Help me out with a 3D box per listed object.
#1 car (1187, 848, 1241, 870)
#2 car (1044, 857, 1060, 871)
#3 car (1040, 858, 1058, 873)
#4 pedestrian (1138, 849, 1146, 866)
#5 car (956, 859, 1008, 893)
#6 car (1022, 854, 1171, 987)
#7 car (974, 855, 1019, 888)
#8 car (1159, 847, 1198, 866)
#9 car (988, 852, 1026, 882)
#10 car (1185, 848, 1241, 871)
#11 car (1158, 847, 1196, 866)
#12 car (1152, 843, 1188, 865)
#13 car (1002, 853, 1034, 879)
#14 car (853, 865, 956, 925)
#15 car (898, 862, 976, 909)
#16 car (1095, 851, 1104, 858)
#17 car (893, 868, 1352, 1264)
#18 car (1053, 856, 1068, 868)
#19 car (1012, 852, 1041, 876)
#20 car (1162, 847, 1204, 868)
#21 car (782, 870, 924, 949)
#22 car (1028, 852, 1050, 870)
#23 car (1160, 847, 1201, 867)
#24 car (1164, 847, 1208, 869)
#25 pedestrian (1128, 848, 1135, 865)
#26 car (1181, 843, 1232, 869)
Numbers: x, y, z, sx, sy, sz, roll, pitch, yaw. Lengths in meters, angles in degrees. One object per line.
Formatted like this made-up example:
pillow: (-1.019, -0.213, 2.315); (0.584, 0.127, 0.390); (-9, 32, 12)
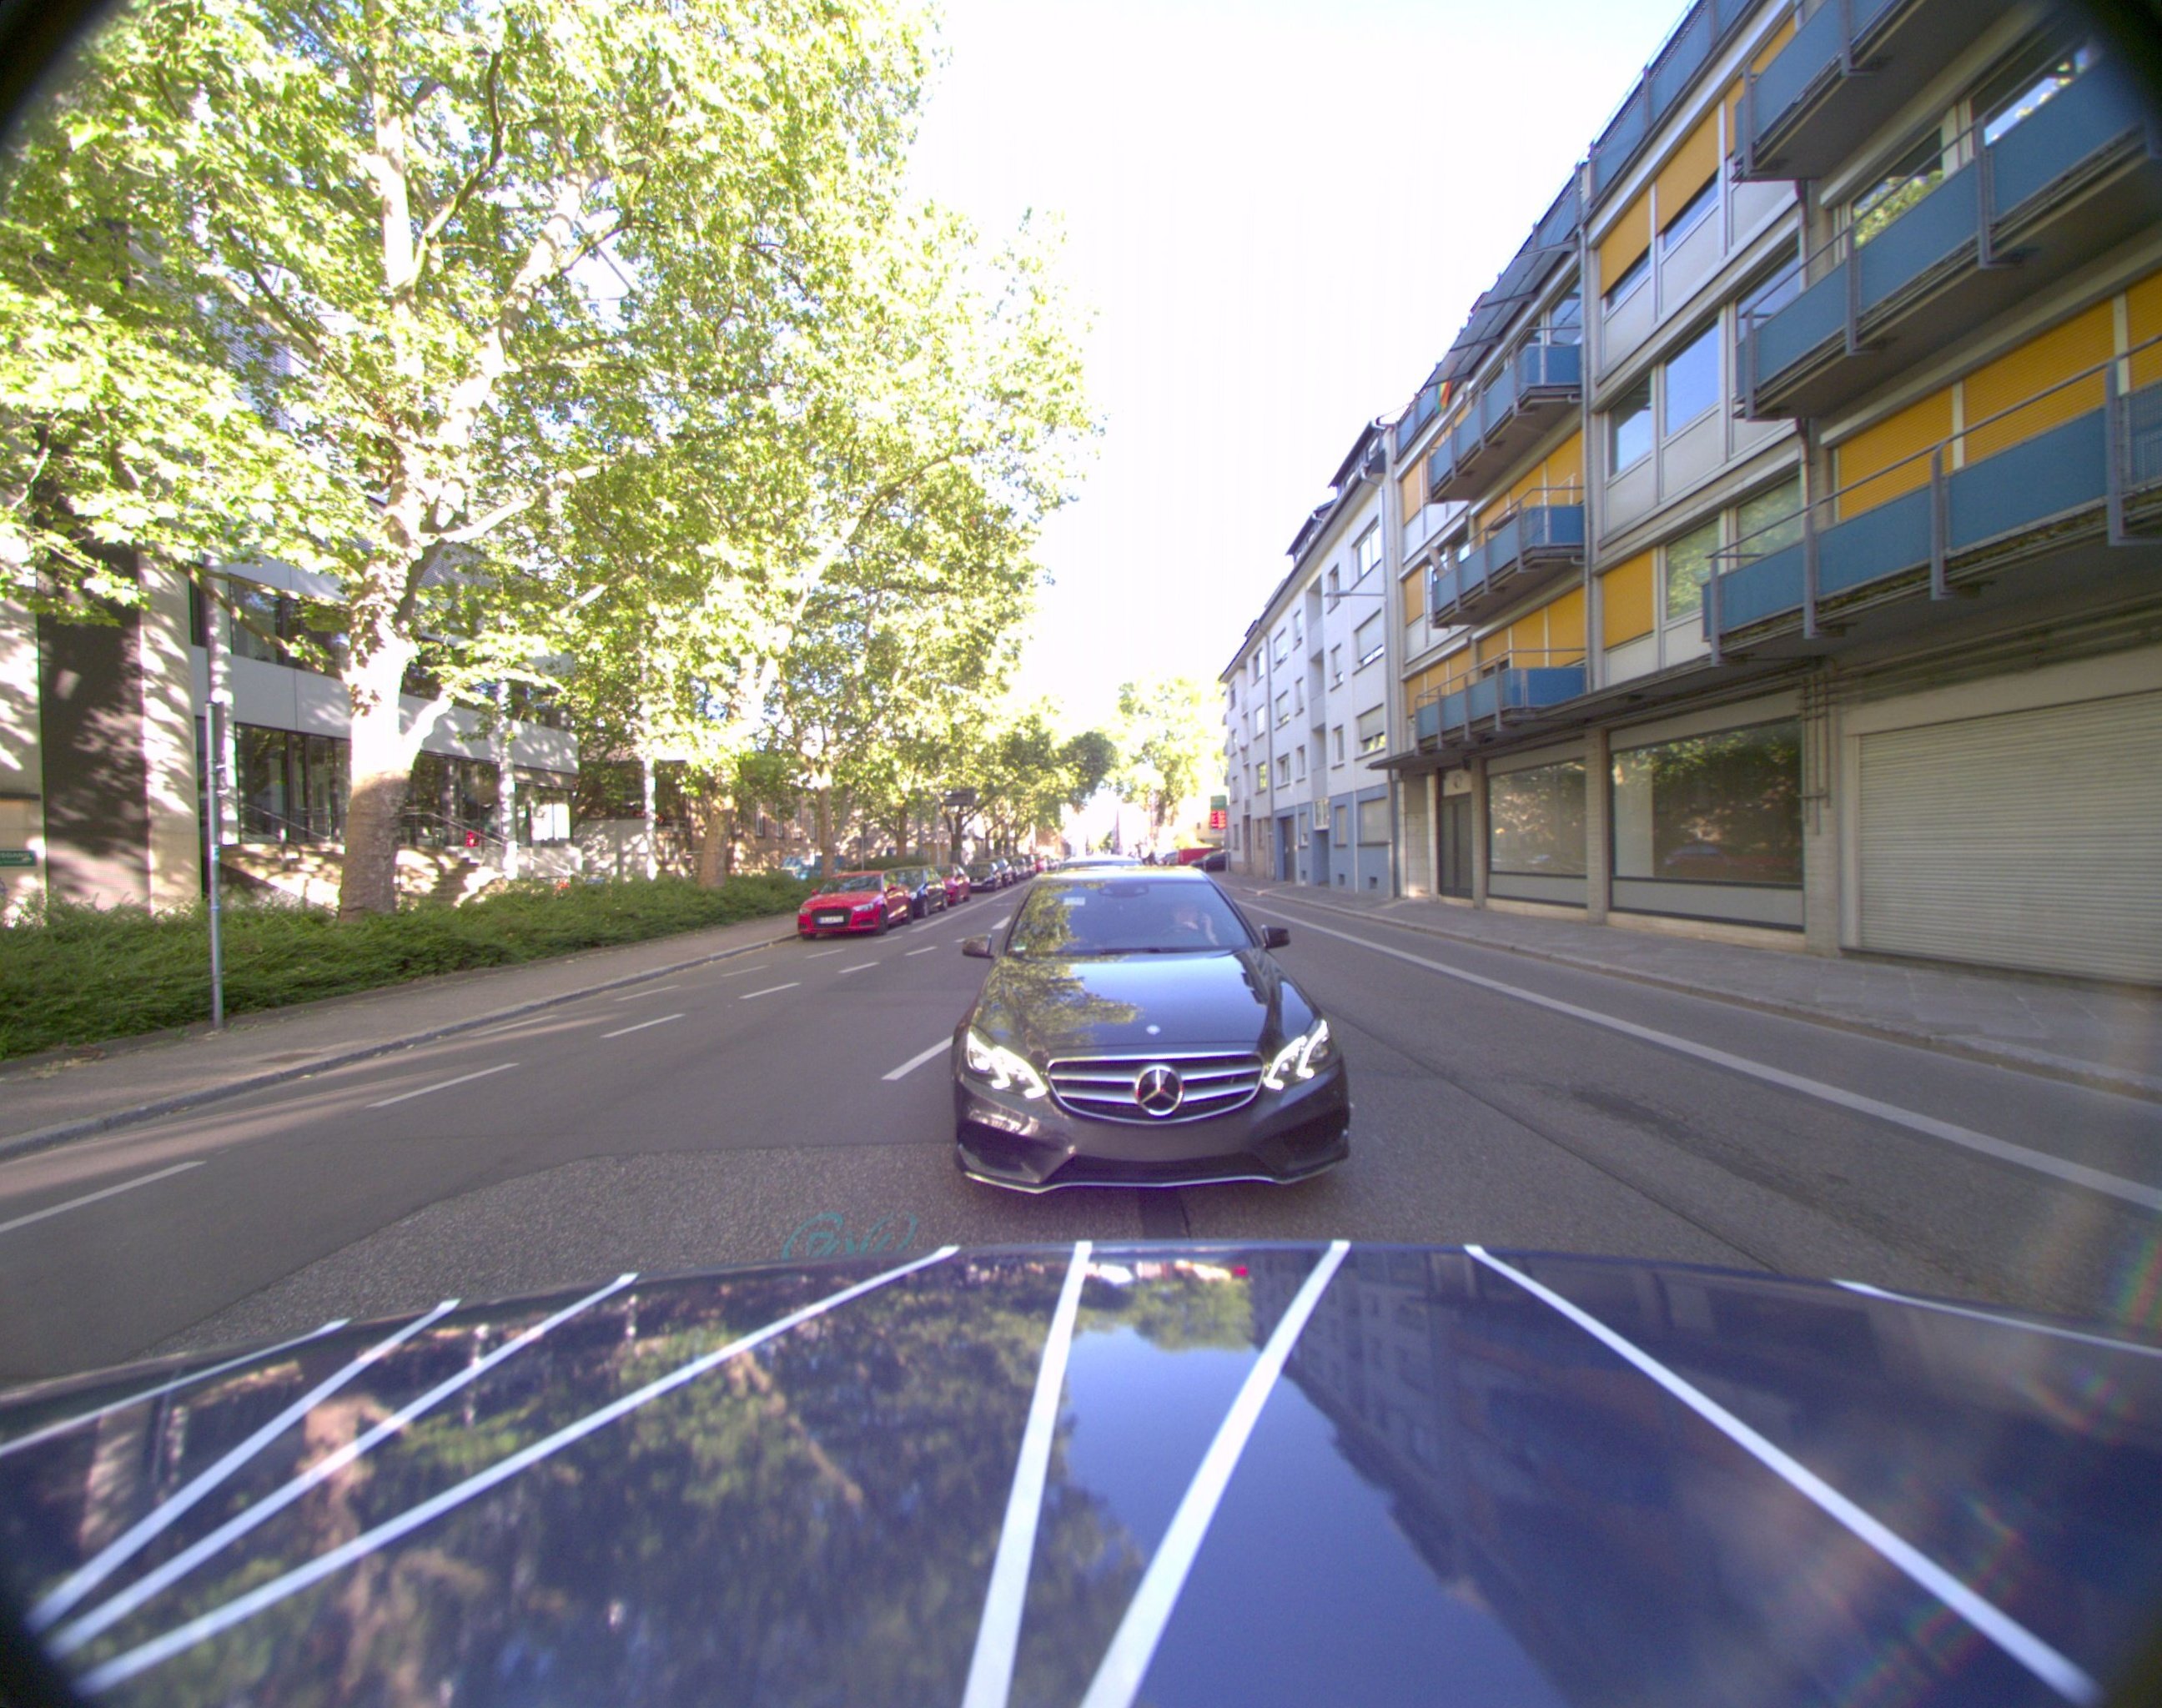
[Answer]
car: (10.710, 0.376, 61.197); (3.996, 1.543, 2.000); (-2, 1, 2)
car: (-3.663, 1.230, 96.787); (1.866, 1.632, 4.481); (-2, 0, 1)
car: (-3.772, 1.315, 89.988); (1.866, 1.632, 4.481); (-2, 0, 1)
pedestrian: (7.423, 0.376, 92.420); (0.735, 2.002, 1.046); (-2, 1, -1)
car: (-4.759, 1.021, 37.175); (1.866, 1.442, 4.481); (-2, 0, 1)
car: (0.223, 0.858, 11.934); (1.866, 1.630, 4.303); (-2, 0, 1)
car: (-4.625, 0.904, 42.210); (1.866, 1.658, 4.481); (-2, 0, 1)
car: (10.583, 0.273, 82.490); (3.996, 1.936, 2.000); (-2, 1, 2)
car: (-4.637, 0.780, 48.137); (1.866, 1.749, 4.481); (-2, 0, 1)
car: (10.169, 0.423, 58.875); (3.996, 1.543, 2.000); (-2, 1, 2)
car: (10.729, 0.239, 84.984); (3.996, 1.936, 2.000); (-2, 1, 2)
car: (10.482, 0.001, 89.512); (3.996, 2.505, 2.000); (-2, 1, 2)
car: (-4.508, 0.814, 54.803); (1.866, 1.749, 4.481); (-2, 0, 1)
car: (-5.046, 1.122, 22.385); (1.866, 1.442, 4.481); (-2, 0, 1)
car: (-5.090, 1.063, 27.429); (1.866, 1.442, 4.481); (-2, 0, 1)
car: (4.184, 0.089, 172.408); (1.866, 1.632, 4.481); (-2, 0, 1)
car: (0.204, 0.933, 5.411); (1.866, 1.492, 4.481); (-2, 0, 1)
car: (-2.832, 1.104, 105.194); (1.866, 1.632, 4.481); (-2, 0, 1)
car: (-4.251, 0.751, 59.759); (1.866, 1.749, 4.481); (-2, 0, 1)
car: (10.325, 0.342, 77.151); (3.996, 1.936, 2.000); (-2, 1, 2)
car: (-5.106, 1.176, 17.734); (1.866, 1.442, 4.481); (-2, 0, 1)
car: (-4.205, 0.699, 76.282); (1.866, 1.632, 4.481); (-2, 0, 1)
car: (10.454, 0.305, 80.002); (3.996, 1.936, 2.000); (-2, 1, 2)
car: (10.242, 0.375, 74.510); (3.996, 1.936, 2.000); (-2, 1, 2)
pedestrian: (6.131, 0.341, 92.495); (0.735, 2.002, 0.797); (-2, 1, 1)
car: (10.543, 0.153, 64.029); (3.996, 1.936, 2.000); (-2, 1, 2)
